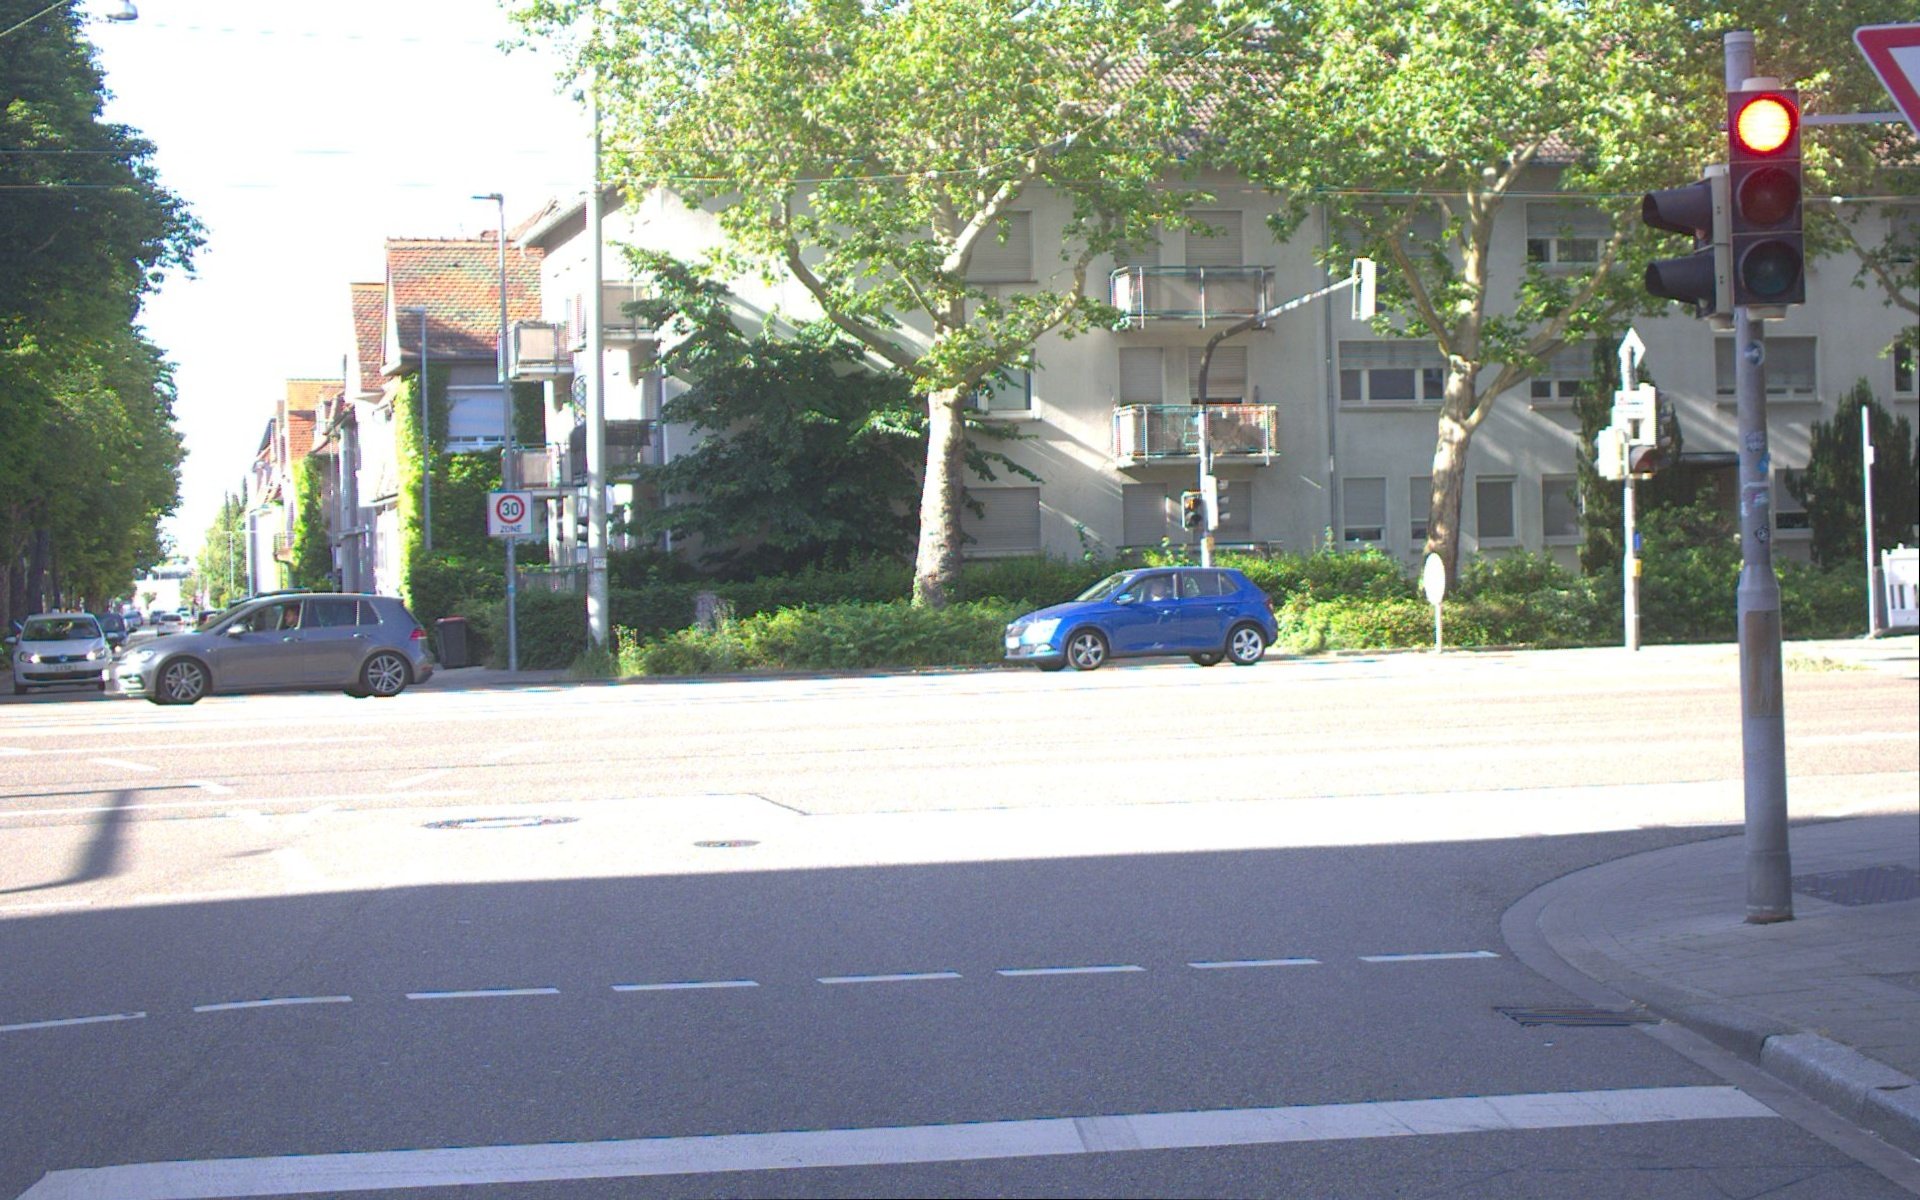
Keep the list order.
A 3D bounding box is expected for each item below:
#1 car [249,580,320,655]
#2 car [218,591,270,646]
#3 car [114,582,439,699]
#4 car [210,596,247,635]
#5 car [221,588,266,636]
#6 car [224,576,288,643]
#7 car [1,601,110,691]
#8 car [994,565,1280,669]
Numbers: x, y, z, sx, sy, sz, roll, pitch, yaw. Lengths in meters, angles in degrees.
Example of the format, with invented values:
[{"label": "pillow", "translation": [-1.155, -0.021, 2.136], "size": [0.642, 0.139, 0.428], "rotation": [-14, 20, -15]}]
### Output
[{"label": "car", "translation": [-18.619, 0.469, 94.688], "size": [1.772, 1.912, 3.535], "rotation": [-3, 1, -12]}, {"label": "car", "translation": [-26.697, 0.668, 128.153], "size": [1.772, 1.912, 3.535], "rotation": [-3, 1, -12]}, {"label": "car", "translation": [-8.996, 0.508, 45.252], "size": [3.938, 1.395, 1.646], "rotation": [-1, 1, -21]}, {"label": "car", "translation": [-38.463, 0.816, 180.820], "size": [1.772, 1.912, 3.535], "rotation": [-3, 1, -12]}, {"label": "car", "translation": [-30.527, 0.488, 146.438], "size": [1.772, 1.912, 3.535], "rotation": [-3, 1, -12]}, {"label": "car", "translation": [-21.449, 0.268, 104.642], "size": [1.772, 1.912, 3.535], "rotation": [-3, 1, -12]}, {"label": "car", "translation": [-16.643, 0.817, 63.356], "size": [1.698, 1.478, 3.535], "rotation": [-3, 1, -12]}, {"label": "car", "translation": [2.551, 0.228, 49.785], "size": [3.779, 1.395, 1.646], "rotation": [-1, 1, -16]}]
